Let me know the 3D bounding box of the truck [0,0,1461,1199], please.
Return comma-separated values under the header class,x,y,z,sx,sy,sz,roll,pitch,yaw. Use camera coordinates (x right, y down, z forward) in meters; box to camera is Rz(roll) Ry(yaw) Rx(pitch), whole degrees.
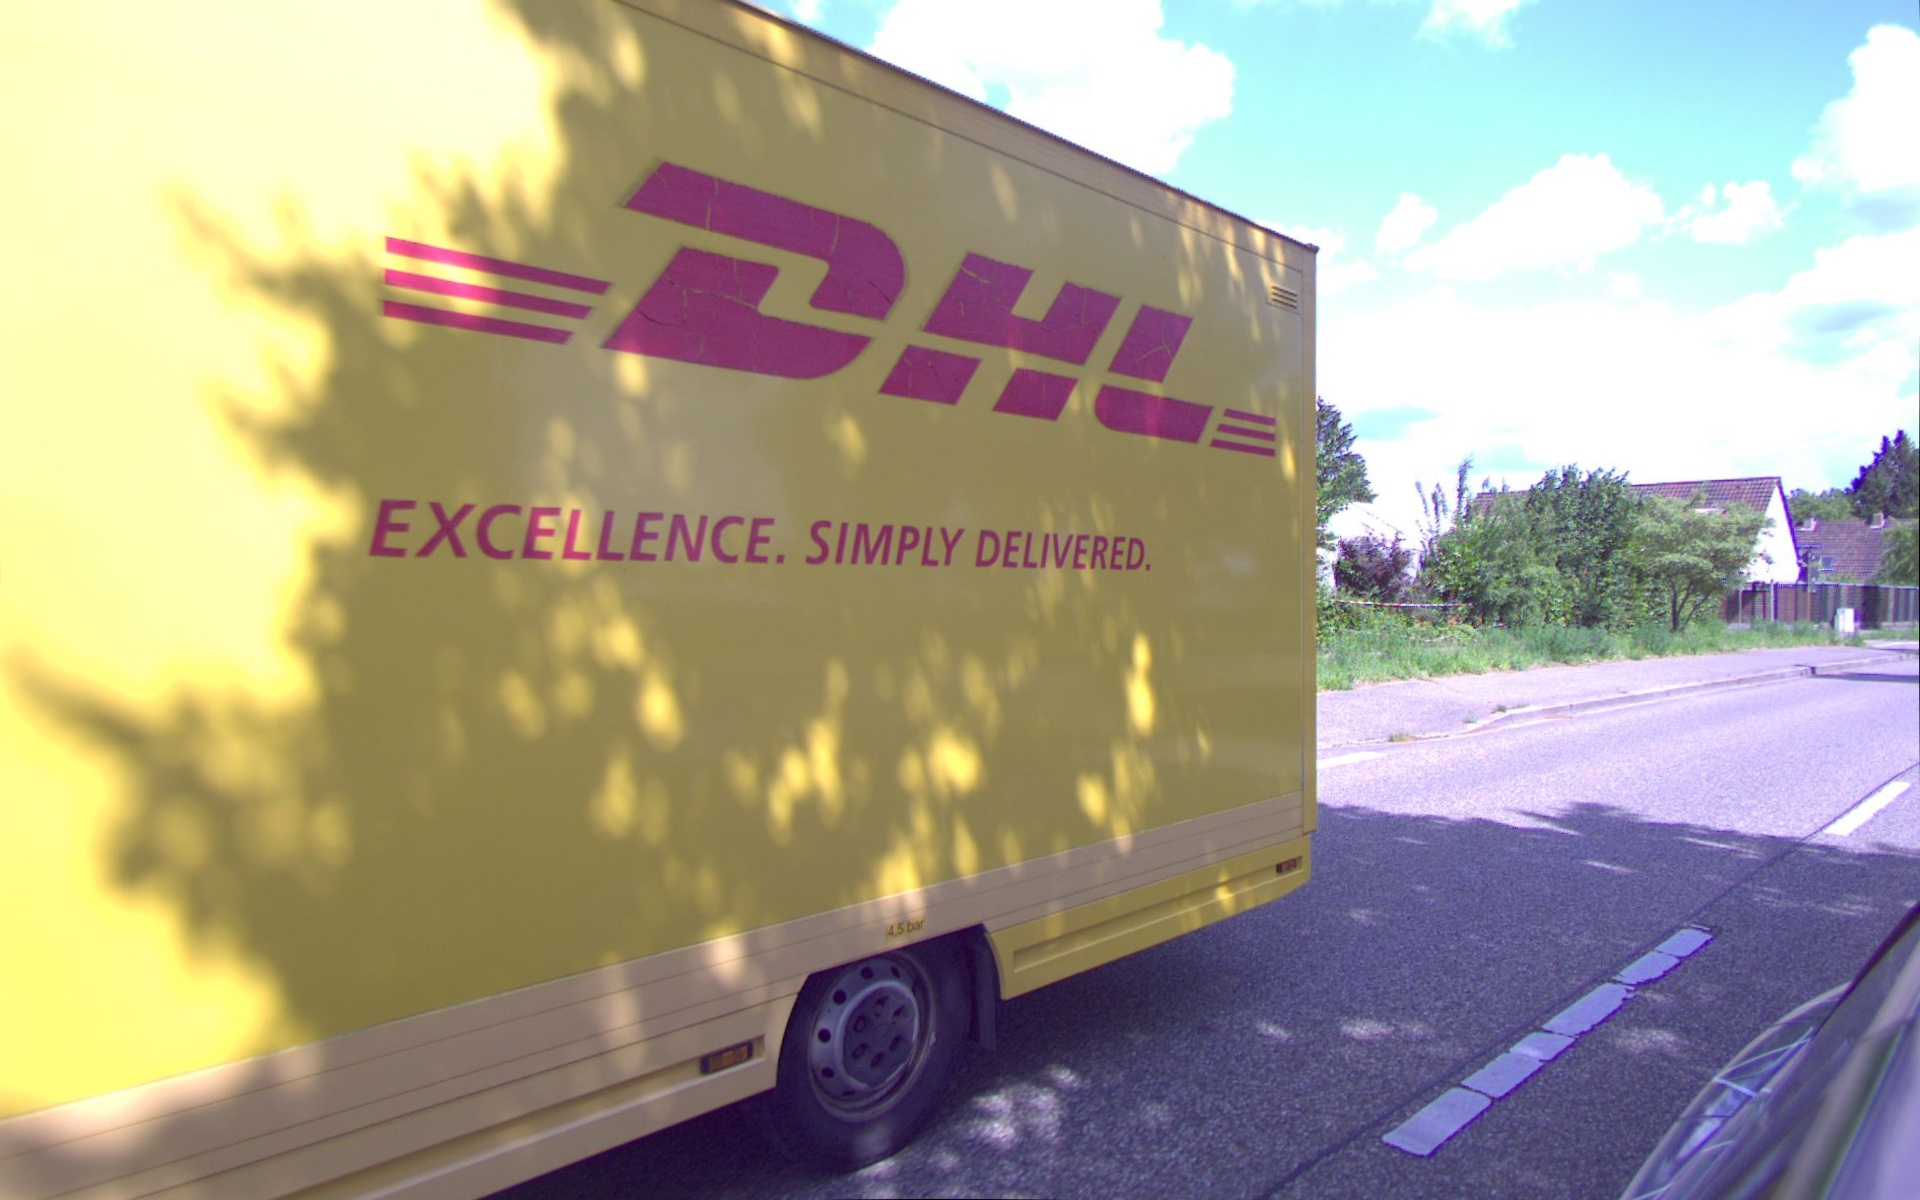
class,x,y,z,sx,sy,sz,roll,pitch,yaw
truck,-1.402,-0.042,2.908,7.887,2.917,2.268,0,0,-41
